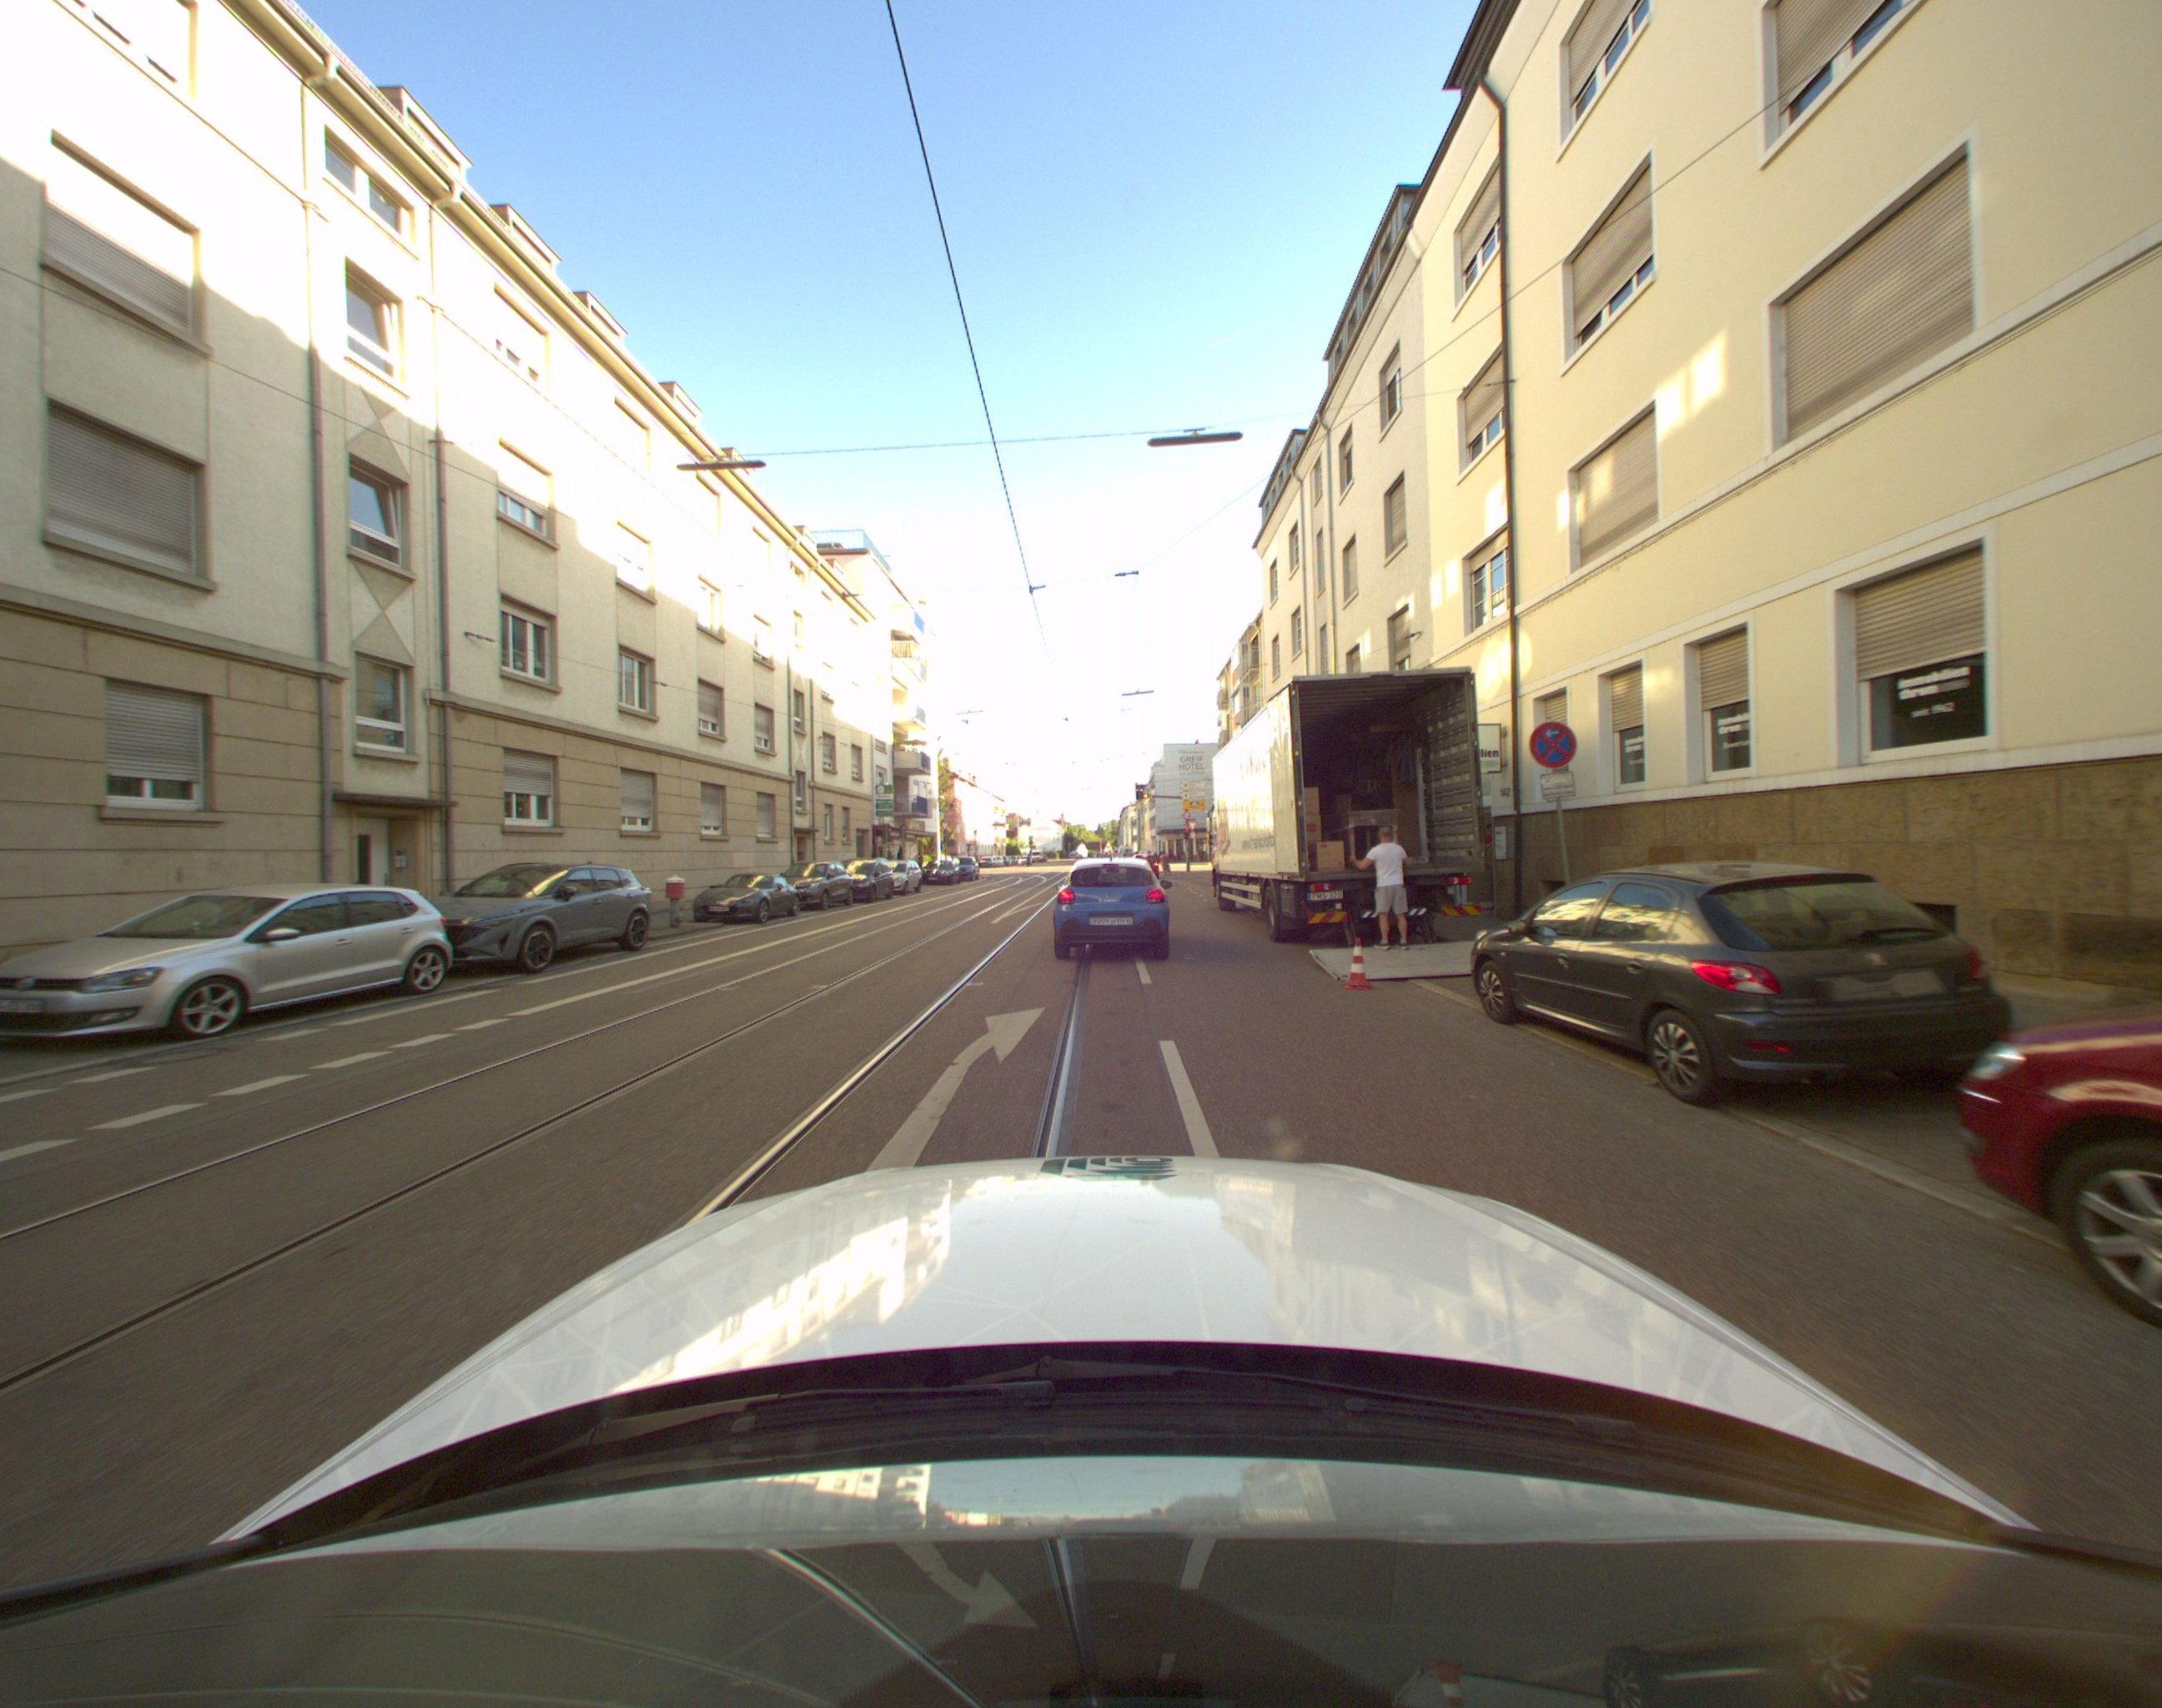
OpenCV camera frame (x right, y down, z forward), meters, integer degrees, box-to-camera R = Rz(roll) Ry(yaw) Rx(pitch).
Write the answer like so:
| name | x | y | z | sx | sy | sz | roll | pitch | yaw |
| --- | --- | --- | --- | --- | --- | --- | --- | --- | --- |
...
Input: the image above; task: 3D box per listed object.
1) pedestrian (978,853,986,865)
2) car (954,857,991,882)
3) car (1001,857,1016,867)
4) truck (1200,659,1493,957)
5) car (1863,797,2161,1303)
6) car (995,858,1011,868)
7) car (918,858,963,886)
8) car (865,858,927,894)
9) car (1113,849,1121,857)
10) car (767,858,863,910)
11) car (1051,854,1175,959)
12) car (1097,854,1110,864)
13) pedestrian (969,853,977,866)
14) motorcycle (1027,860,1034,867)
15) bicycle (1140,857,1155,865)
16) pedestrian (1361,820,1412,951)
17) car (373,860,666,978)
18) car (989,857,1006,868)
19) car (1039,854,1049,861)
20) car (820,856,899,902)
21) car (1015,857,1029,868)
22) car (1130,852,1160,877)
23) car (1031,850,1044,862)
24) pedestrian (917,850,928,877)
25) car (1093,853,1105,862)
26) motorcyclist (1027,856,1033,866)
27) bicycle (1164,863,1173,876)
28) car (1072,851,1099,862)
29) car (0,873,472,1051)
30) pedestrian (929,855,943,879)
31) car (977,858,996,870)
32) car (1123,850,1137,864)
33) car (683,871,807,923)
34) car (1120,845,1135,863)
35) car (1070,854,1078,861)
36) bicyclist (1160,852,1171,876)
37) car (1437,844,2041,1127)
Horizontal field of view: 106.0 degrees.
| name | x | y | z | sx | sy | sz | roll | pitch | yaw |
| --- | --- | --- | --- | --- | --- | --- | --- | --- | --- |
| pedestrian | -13.982 | 0.744 | 114.960 | 0.839 | 1.690 | 0.739 | -1 | 0 | 7 |
| car | -7.026 | 0.996 | 53.122 | 1.737 | 1.509 | 4.002 | 0 | -1 | 2 |
| car | -11.557 | 1.227 | 130.206 | 1.904 | 1.497 | 4.000 | -1 | 0 | 1 |
| truck | 4.572 | -0.650 | 17.282 | 2.848 | 4.073 | 11.788 | -2 | 0 | 3 |
| car | 4.217 | 0.591 | 1.400 | 1.587 | 1.609 | 4.245 | -2 | 0 | -1 |
| car | -11.879 | 1.366 | 124.065 | 1.904 | 1.497 | 4.000 | -1 | 0 | 1 |
| car | -8.054 | 1.023 | 47.057 | 1.693 | 1.509 | 4.314 | 0 | -1 | 2 |
| car | -8.285 | 0.961 | 36.846 | 1.693 | 1.509 | 4.387 | 0 | -1 | 1 |
| car | 7.458 | -0.224 | 168.258 | 1.682 | 1.618 | 4.002 | 0 | 0 | 2 |
| car | -8.678 | 0.948 | 26.909 | 1.693 | 1.569 | 4.002 | 0 | -1 | 2 |
| car | 0.413 | 0.740 | 13.427 | 1.739 | 1.462 | 3.998 | 0 | 0 | -1 |
| car | 3.553 | 0.708 | 127.601 | 1.986 | 1.508 | 4.002 | -1 | 0 | 2 |
| pedestrian | -14.358 | 0.698 | 107.991 | 0.839 | 1.690 | 0.739 | -1 | 0 | 7 |
| motorcycle | -6.541 | 1.187 | 104.896 | 0.613 | 0.864 | 1.673 | -1 | 0 | 5 |
| bicycle | 8.495 | 0.853 | 103.515 | 1.864 | 0.957 | 0.703 | -1 | 0 | 6 |
| pedestrian | 4.246 | 0.424 | 11.321 | 0.511 | 1.775 | 0.416 | -2 | 0 | 1 |
| car | -9.029 | 0.939 | 13.661 | 1.693 | 1.568 | 4.408 | -2 | 0 | 2 |
| car | -12.005 | 1.270 | 117.264 | 1.904 | 1.497 | 4.000 | -1 | 0 | 1 |
| car | -8.316 | 0.704 | 182.764 | 2.014 | 1.525 | 4.001 | -1 | 0 | 1 |
| car | -8.366 | 0.907 | 31.107 | 1.693 | 1.615 | 4.246 | 0 | -1 | 2 |
| car | -9.272 | 1.337 | 128.956 | 1.843 | 1.574 | 4.401 | -1 | 0 | 1 |
| car | 3.948 | 0.605 | 50.135 | 1.730 | 1.420 | 4.005 | -1 | 0 | 5 |
| car | -8.396 | 0.445 | 157.341 | 2.199 | 2.251 | 4.677 | -1 | 0 | 1 |
| pedestrian | -12.307 | 0.740 | 63.292 | 0.684 | 2.013 | 0.486 | -1 | 0 | -1 |
| car | 3.306 | 0.665 | 148.277 | 1.986 | 1.618 | 4.001 | 0 | 0 | 2 |
| motorcyclist | -6.550 | 0.899 | 104.742 | 0.715 | 1.378 | 0.913 | -1 | 0 | 5 |
| bicycle | 6.114 | 1.100 | 57.128 | 0.496 | 0.864 | 1.750 | -1 | 0 | 3 |
| car | 0.749 | 0.363 | 132.527 | 3.950 | 1.640 | 1.825 | -1 | 0 | 25 |
| car | -9.178 | 0.977 | 9.016 | 1.693 | 1.416 | 4.002 | 2 | -1 | 2 |
| pedestrian | -9.357 | 0.834 | 52.731 | 0.694 | 1.548 | 0.722 | -1 | 0 | 5 |
| car | -12.386 | 1.271 | 106.898 | 1.905 | 1.433 | 3.999 | -1 | 0 | -1 |
| car | 6.208 | 0.373 | 104.171 | 1.726 | 1.750 | 3.215 | 0 | 0 | 2 |
| car | -8.877 | 1.102 | 21.871 | 1.693 | 1.216 | 3.785 | 0 | -1 | 1 |
| car | 6.190 | 0.054 | 109.110 | 1.986 | 2.325 | 4.001 | 0 | 0 | 2 |
| car | -1.805 | 0.864 | 207.103 | 2.014 | 1.525 | 4.001 | -1 | 0 | 1 |
| bicyclist | 5.902 | 0.717 | 56.791 | 0.723 | 1.646 | 0.791 | -1 | 0 | 4 |
| car | 4.410 | 0.712 | 6.354 | 1.577 | 1.463 | 3.881 | -2 | 0 | 1 |
